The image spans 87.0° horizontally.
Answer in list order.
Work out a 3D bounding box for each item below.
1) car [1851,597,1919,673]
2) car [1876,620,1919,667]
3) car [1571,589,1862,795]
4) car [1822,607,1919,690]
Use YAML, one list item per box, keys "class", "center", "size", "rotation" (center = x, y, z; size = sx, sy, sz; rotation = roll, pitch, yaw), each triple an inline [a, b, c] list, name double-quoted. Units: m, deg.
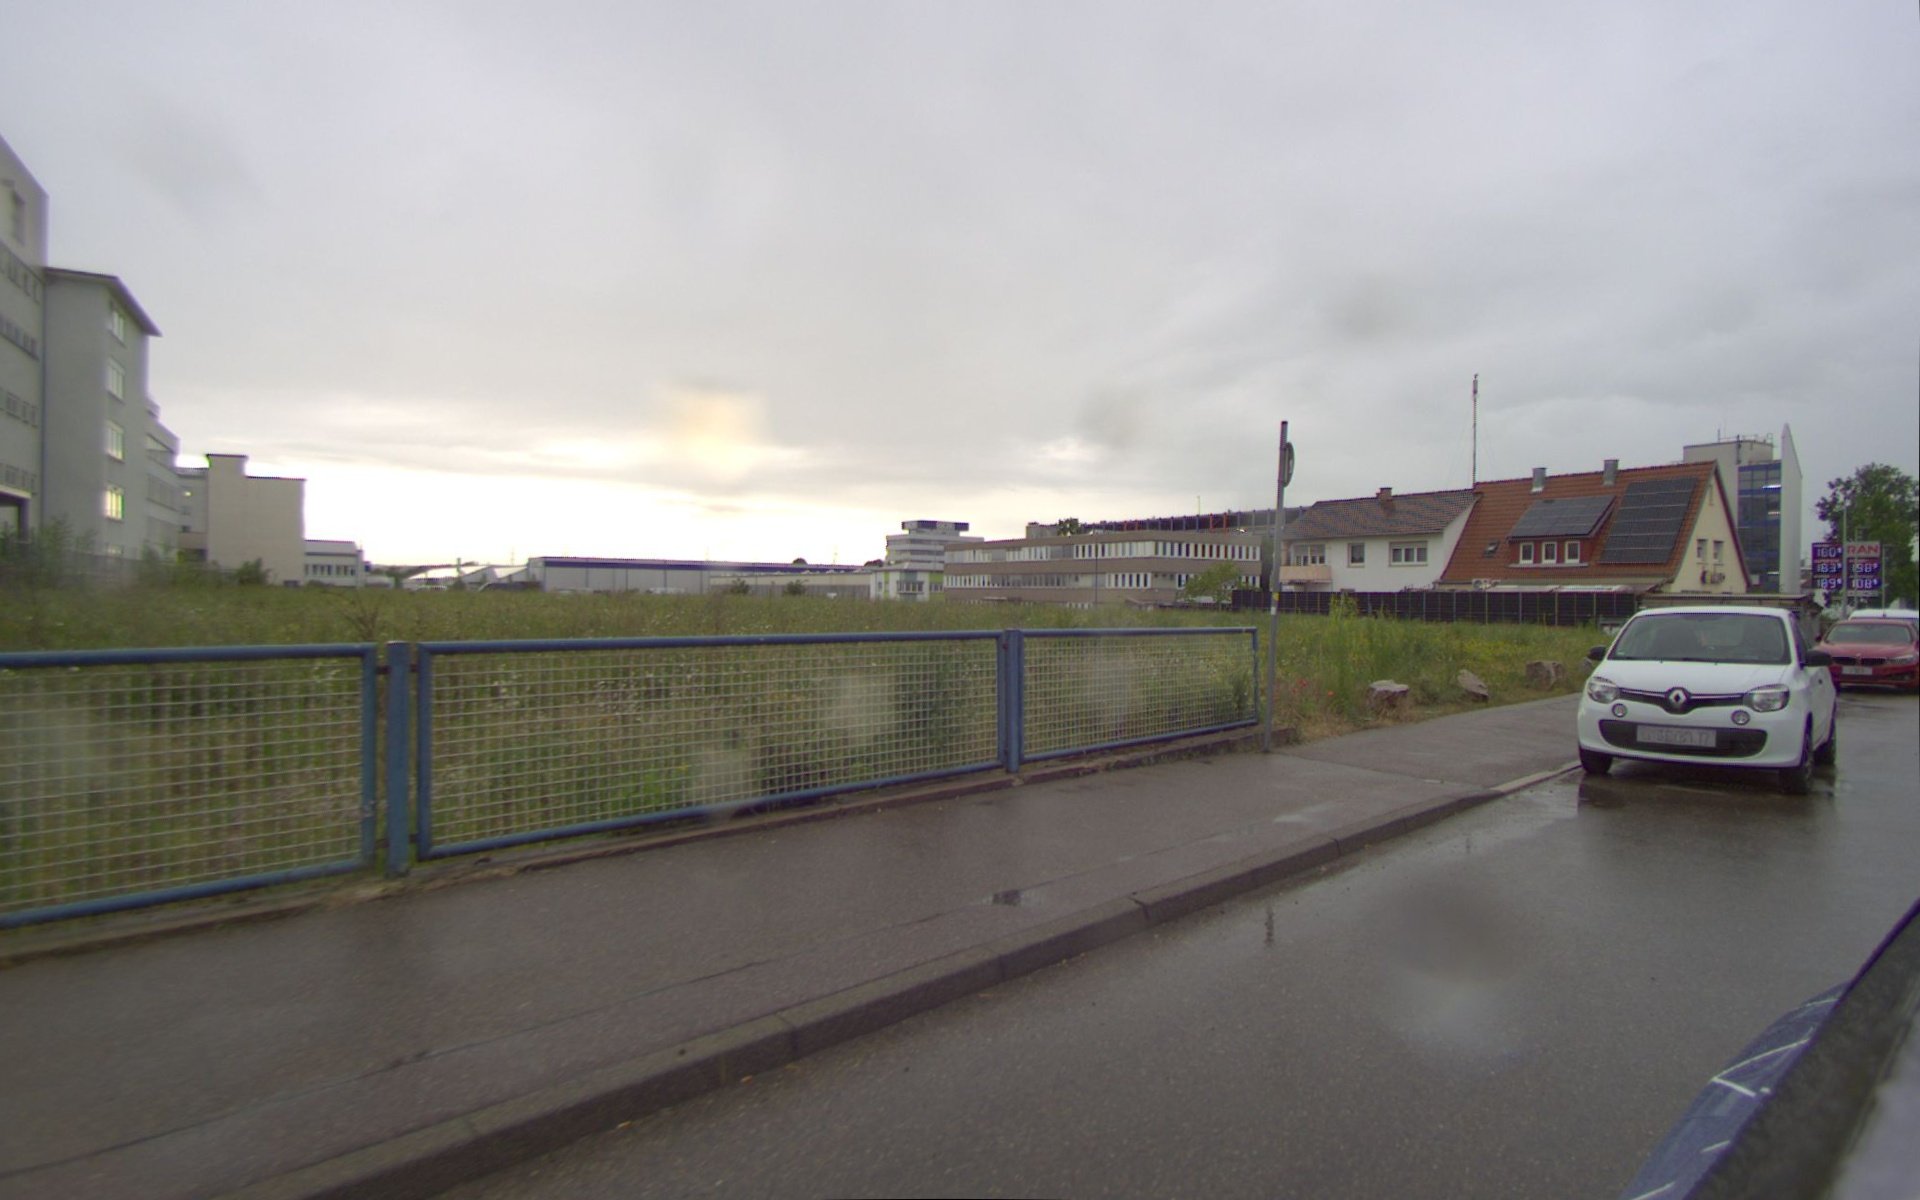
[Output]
- class: "car"
  center: [24.840, 0.904, 26.622]
  size: [4.498, 1.849, 1.769]
  rotation: [1, -2, -44]
- class: "car"
  center: [29.161, 1.304, 30.705]
  size: [4.249, 1.353, 1.769]
  rotation: [1, -1, -44]
- class: "car"
  center: [7.309, 0.731, 9.658]
  size: [3.613, 1.577, 1.682]
  rotation: [1, -1, -44]
- class: "car"
  center: [19.653, 0.973, 21.375]
  size: [4.563, 1.595, 1.644]
  rotation: [1, -1, -42]
